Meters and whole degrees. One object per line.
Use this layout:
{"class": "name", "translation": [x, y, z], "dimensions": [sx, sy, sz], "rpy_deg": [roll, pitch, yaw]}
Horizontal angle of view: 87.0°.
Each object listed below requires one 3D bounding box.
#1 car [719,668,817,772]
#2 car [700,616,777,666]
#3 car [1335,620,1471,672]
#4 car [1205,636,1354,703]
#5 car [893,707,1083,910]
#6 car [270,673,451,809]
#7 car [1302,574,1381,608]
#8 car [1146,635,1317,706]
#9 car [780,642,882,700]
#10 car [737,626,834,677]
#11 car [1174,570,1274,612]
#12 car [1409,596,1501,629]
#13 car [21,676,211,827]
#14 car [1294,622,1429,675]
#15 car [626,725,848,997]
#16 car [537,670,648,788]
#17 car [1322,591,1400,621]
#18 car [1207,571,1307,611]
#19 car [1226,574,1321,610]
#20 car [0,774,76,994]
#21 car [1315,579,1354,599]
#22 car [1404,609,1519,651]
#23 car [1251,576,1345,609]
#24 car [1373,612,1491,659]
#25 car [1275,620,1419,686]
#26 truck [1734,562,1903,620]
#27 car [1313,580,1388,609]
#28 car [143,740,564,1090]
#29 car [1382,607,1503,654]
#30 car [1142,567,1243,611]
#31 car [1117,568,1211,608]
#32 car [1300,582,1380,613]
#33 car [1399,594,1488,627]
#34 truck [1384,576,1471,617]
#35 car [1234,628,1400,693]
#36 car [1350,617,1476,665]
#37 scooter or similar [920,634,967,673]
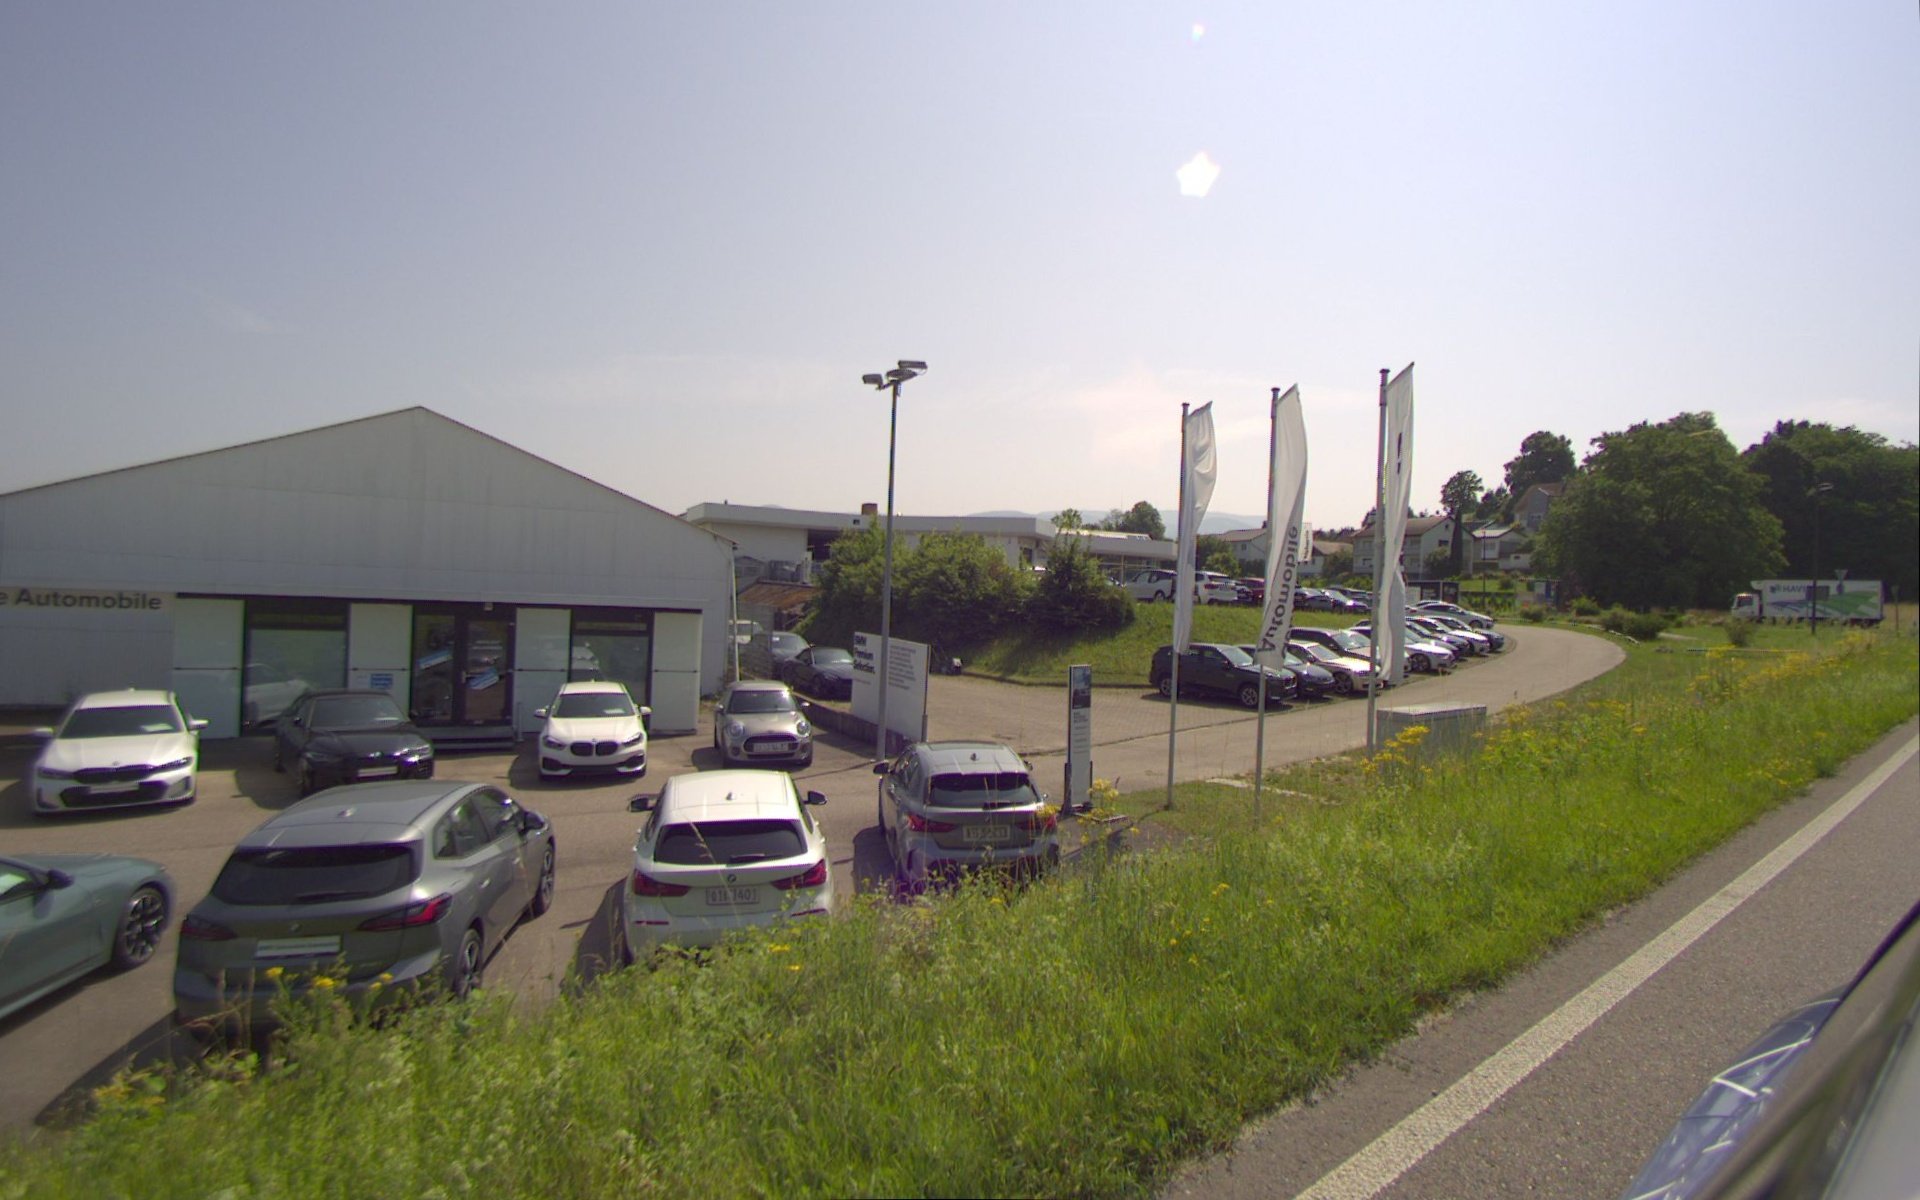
{"class": "car", "translation": [-3.867, 2.264, 19.996], "dimensions": [1.715, 1.542, 3.811], "rpy_deg": [0, 0, -14]}
{"class": "car", "translation": [-8.758, 1.546, 39.755], "dimensions": [1.883, 1.752, 4.322], "rpy_deg": [0, 0, -28]}
{"class": "car", "translation": [16.814, 1.691, 38.468], "dimensions": [4.410, 1.482, 1.899], "rpy_deg": [4, 5, 36]}
{"class": "car", "translation": [9.889, 2.097, 31.485], "dimensions": [3.982, 1.571, 1.972], "rpy_deg": [2, 4, 40]}
{"class": "car", "translation": [0.151, 2.296, 12.227], "dimensions": [1.656, 1.542, 4.178], "rpy_deg": [0, 0, -7]}
{"class": "car", "translation": [-10.142, 2.213, 16.952], "dimensions": [1.898, 1.542, 4.434], "rpy_deg": [0, 1, -40]}
{"class": "car", "translation": [22.291, -0.557, 59.204], "dimensions": [1.909, 1.771, 4.016], "rpy_deg": [2, 2, -27]}
{"class": "car", "translation": [8.022, 2.018, 30.066], "dimensions": [4.475, 1.660, 2.117], "rpy_deg": [1, 2, 40]}
{"class": "car", "translation": [-3.838, 2.017, 29.622], "dimensions": [1.684, 1.393, 3.956], "rpy_deg": [0, 0, -28]}
{"class": "car", "translation": [-6.032, 1.698, 34.549], "dimensions": [1.943, 1.490, 4.464], "rpy_deg": [0, 0, -28]}
{"class": "car", "translation": [11.813, -0.450, 45.610], "dimensions": [1.801, 1.769, 4.476], "rpy_deg": [1, 1, -27]}
{"class": "car", "translation": [28.105, 0.669, 57.486], "dimensions": [4.539, 1.590, 1.750], "rpy_deg": [3, 2, 30]}
{"class": "car", "translation": [-12.864, 2.173, 15.689], "dimensions": [1.896, 1.542, 4.440], "rpy_deg": [0, 1, -35]}
{"class": "car", "translation": [14.758, 1.723, 37.367], "dimensions": [4.250, 1.483, 1.844], "rpy_deg": [4, 5, 44]}
{"class": "car", "translation": [-2.174, 2.304, 10.090], "dimensions": [1.715, 1.542, 4.180], "rpy_deg": [0, 0, -12]}
{"class": "car", "translation": [-6.738, 2.243, 18.599], "dimensions": [1.714, 1.542, 3.979], "rpy_deg": [0, 1, -20]}
{"class": "car", "translation": [25.441, 0.346, 64.407], "dimensions": [1.910, 1.518, 4.436], "rpy_deg": [0, 4, -27]}
{"class": "car", "translation": [13.885, -0.455, 47.557], "dimensions": [1.909, 1.769, 4.476], "rpy_deg": [1, 1, -27]}
{"class": "car", "translation": [15.553, -0.436, 50.383], "dimensions": [1.909, 1.655, 4.476], "rpy_deg": [1, 1, -27]}
{"class": "car", "translation": [-8.064, 2.277, 6.459], "dimensions": [1.818, 1.542, 4.180], "rpy_deg": [0, 0, -12]}
{"class": "car", "translation": [31.289, -0.923, 84.727], "dimensions": [1.876, 1.531, 4.370], "rpy_deg": [2, 1, 5]}
{"class": "car", "translation": [22.880, 1.331, 46.217], "dimensions": [4.536, 1.438, 1.765], "rpy_deg": [3, 5, 31]}
{"class": "car", "translation": [17.316, -0.394, 52.064], "dimensions": [1.909, 1.518, 4.476], "rpy_deg": [2, 1, -27]}
{"class": "car", "translation": [19.877, 1.448, 42.663], "dimensions": [4.236, 1.500, 1.899], "rpy_deg": [4, 5, 36]}
{"class": "car", "translation": [13.431, 1.787, 35.308], "dimensions": [4.250, 1.769, 1.969], "rpy_deg": [4, 5, 44]}
{"class": "truck", "translation": [60.938, -0.636, 72.123], "dimensions": [8.986, 3.877, 2.857], "rpy_deg": [0, 0, 42]}
{"class": "car", "translation": [24.060, -0.340, 62.449], "dimensions": [1.909, 1.518, 4.017], "rpy_deg": [3, 2, -27]}
{"class": "car", "translation": [-4.659, 2.271, 8.547], "dimensions": [1.817, 1.542, 4.180], "rpy_deg": [0, 0, -13]}
{"class": "car", "translation": [21.220, 1.301, 44.575], "dimensions": [4.545, 1.584, 1.899], "rpy_deg": [4, 5, 36]}
{"class": "car", "translation": [10.028, -0.519, 43.954], "dimensions": [1.801, 1.769, 4.476], "rpy_deg": [1, 1, -27]}
{"class": "car", "translation": [8.443, -0.516, 42.174], "dimensions": [1.732, 1.552, 3.894], "rpy_deg": [1, 1, -27]}
{"class": "car", "translation": [20.979, -0.183, 55.967], "dimensions": [1.908, 1.545, 4.018], "rpy_deg": [2, 1, -21]}
{"class": "car", "translation": [28.752, 0.585, 60.306], "dimensions": [4.616, 1.589, 1.754], "rpy_deg": [5, 2, 24]}
{"class": "truck", "translation": [32.237, -0.287, 69.953], "dimensions": [1.908, 2.698, 5.640], "rpy_deg": [2, 1, -21]}
{"class": "car", "translation": [11.645, 1.905, 33.285], "dimensions": [4.769, 1.526, 1.969], "rpy_deg": [4, 5, 44]}
{"class": "car", "translation": [18.229, 1.611, 40.844], "dimensions": [4.251, 1.429, 1.893], "rpy_deg": [5, 6, 44]}
{"class": "scooter or similar", "translation": [-0.624, 1.970, 37.337], "dimensions": [0.612, 1.330, 1.977], "rpy_deg": [0, 0, -42]}
